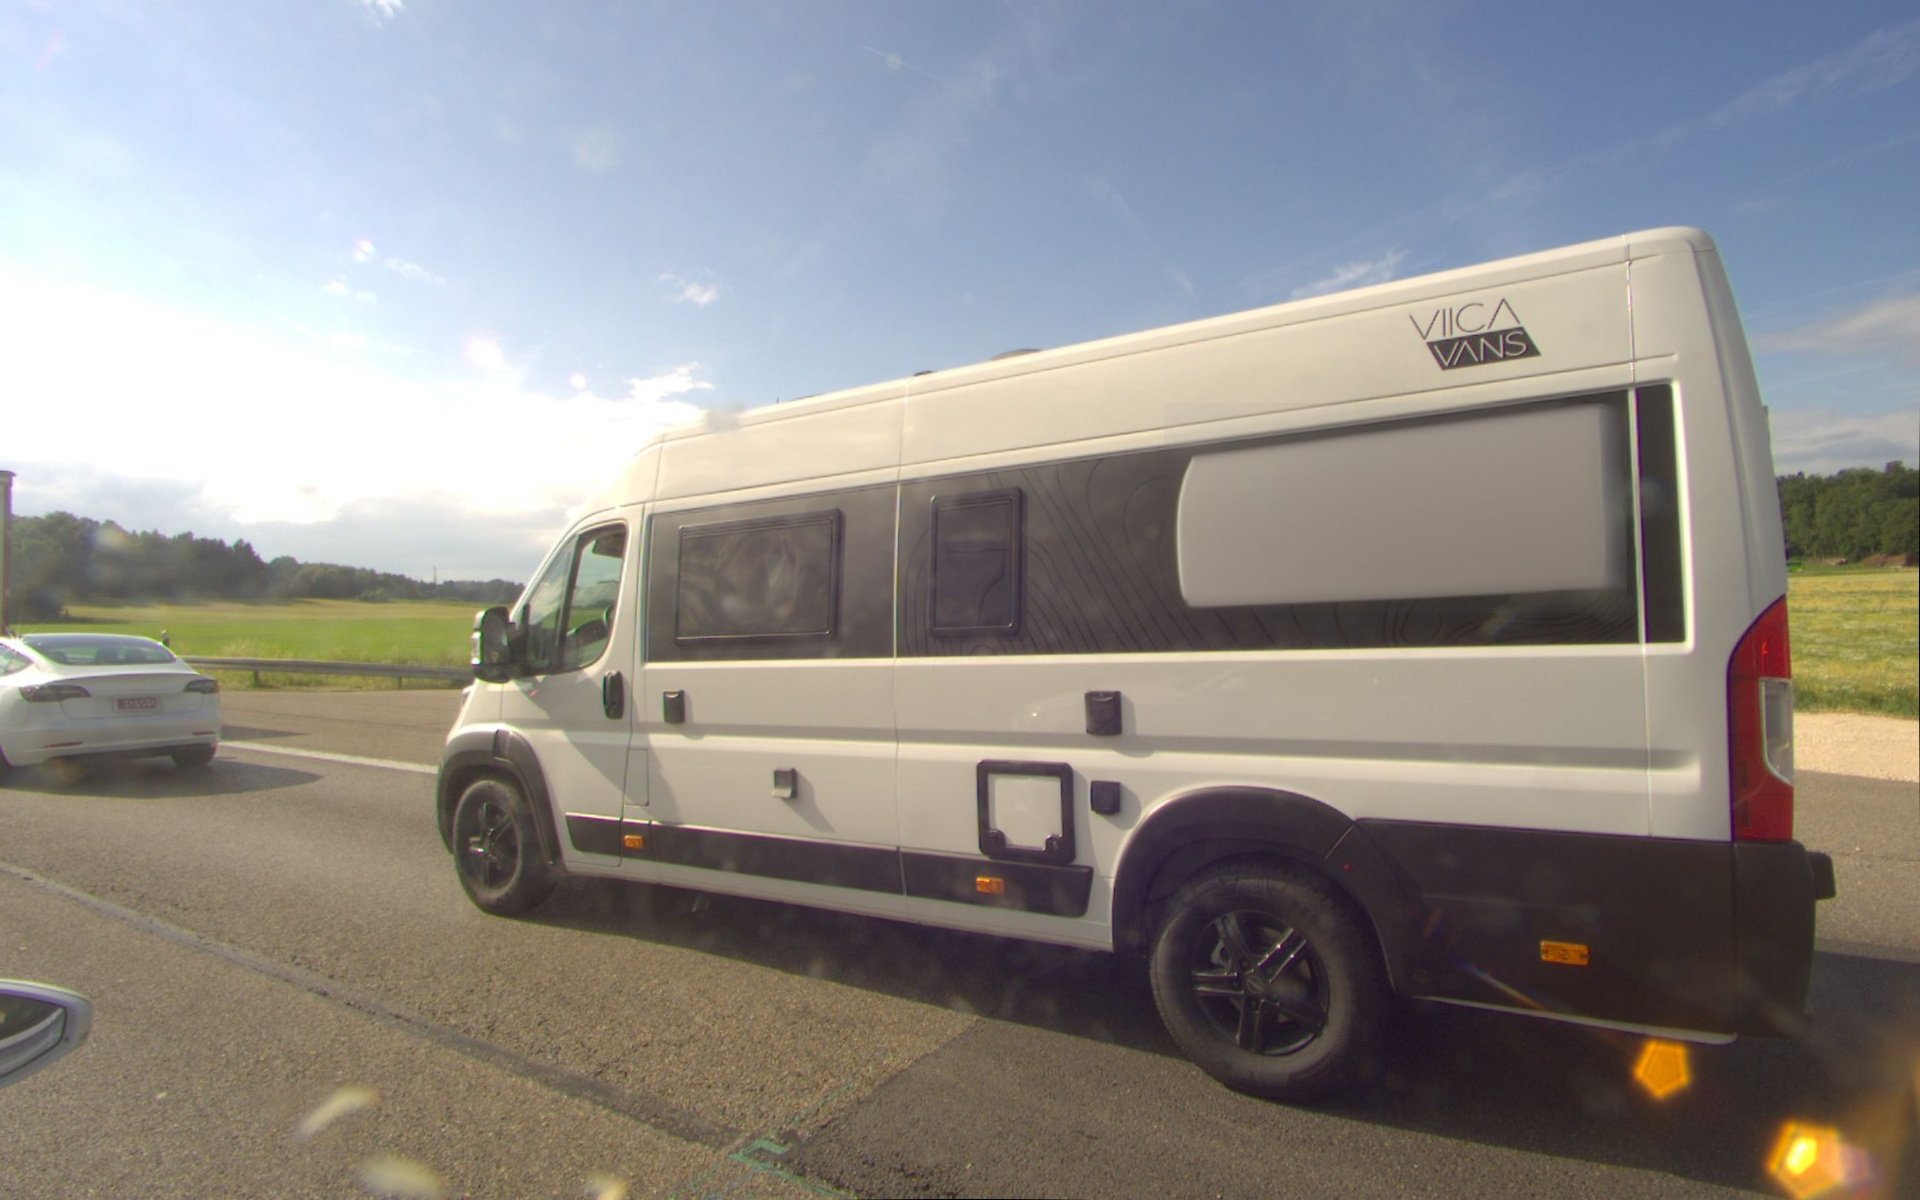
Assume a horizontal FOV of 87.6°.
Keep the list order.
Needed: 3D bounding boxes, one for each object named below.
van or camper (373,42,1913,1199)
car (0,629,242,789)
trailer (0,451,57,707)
[{"bbox_3d":[0.002,0.200,4.796,6.241,2.716,2.211,-1,-1,32],"label":"van or camper"},{"bbox_3d":[-9.848,1.031,10.879,4.372,1.412,1.786,-1,-1,31],"label":"car"},{"bbox_3d":[-21.190,-0.142,18.724,13.181,4.061,3.125,-2,-2,33],"label":"trailer"}]
